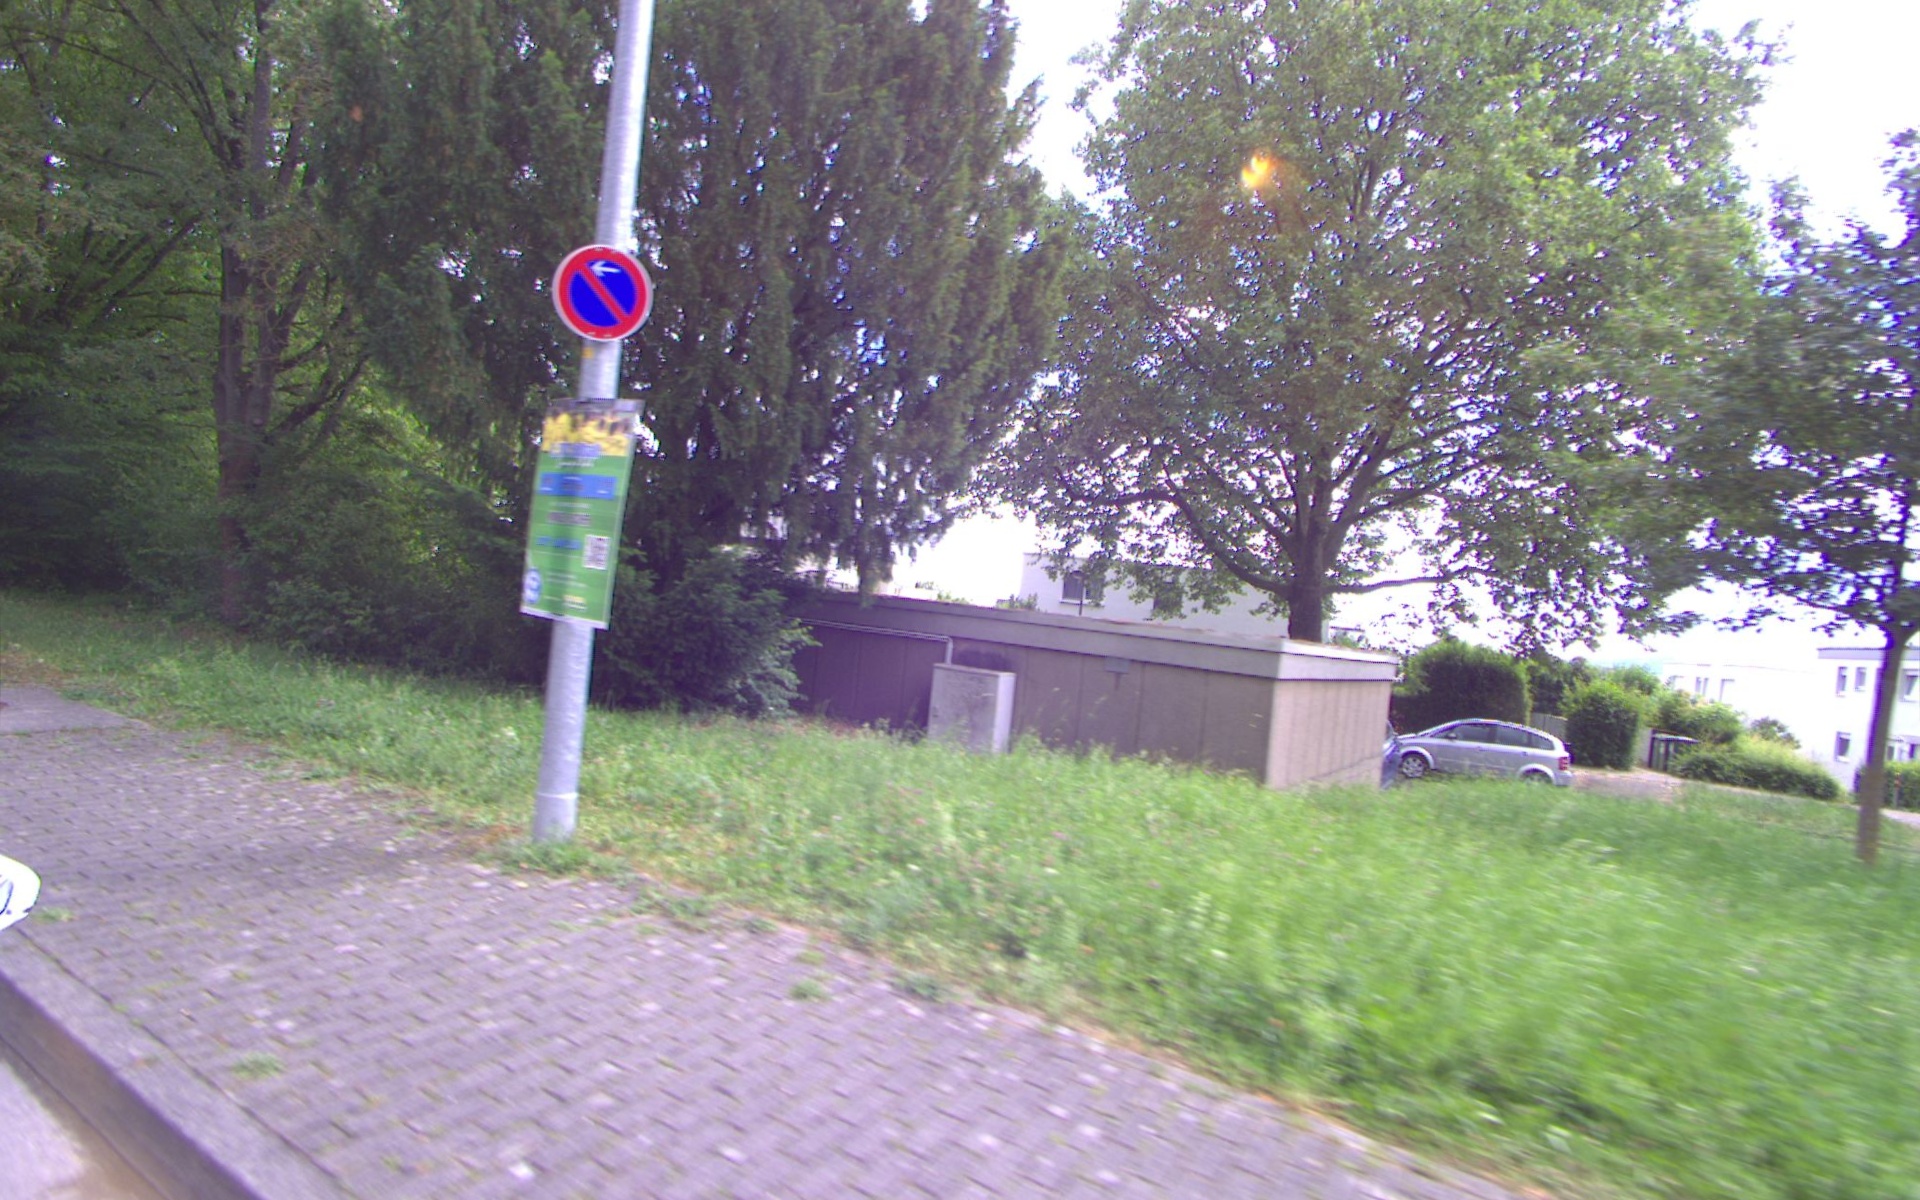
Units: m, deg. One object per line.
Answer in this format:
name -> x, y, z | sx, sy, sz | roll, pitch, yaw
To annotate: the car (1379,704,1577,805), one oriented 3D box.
car -> 11.561, 3.369, 22.513 | 3.686, 1.487, 1.848 | 7, 0, 32
